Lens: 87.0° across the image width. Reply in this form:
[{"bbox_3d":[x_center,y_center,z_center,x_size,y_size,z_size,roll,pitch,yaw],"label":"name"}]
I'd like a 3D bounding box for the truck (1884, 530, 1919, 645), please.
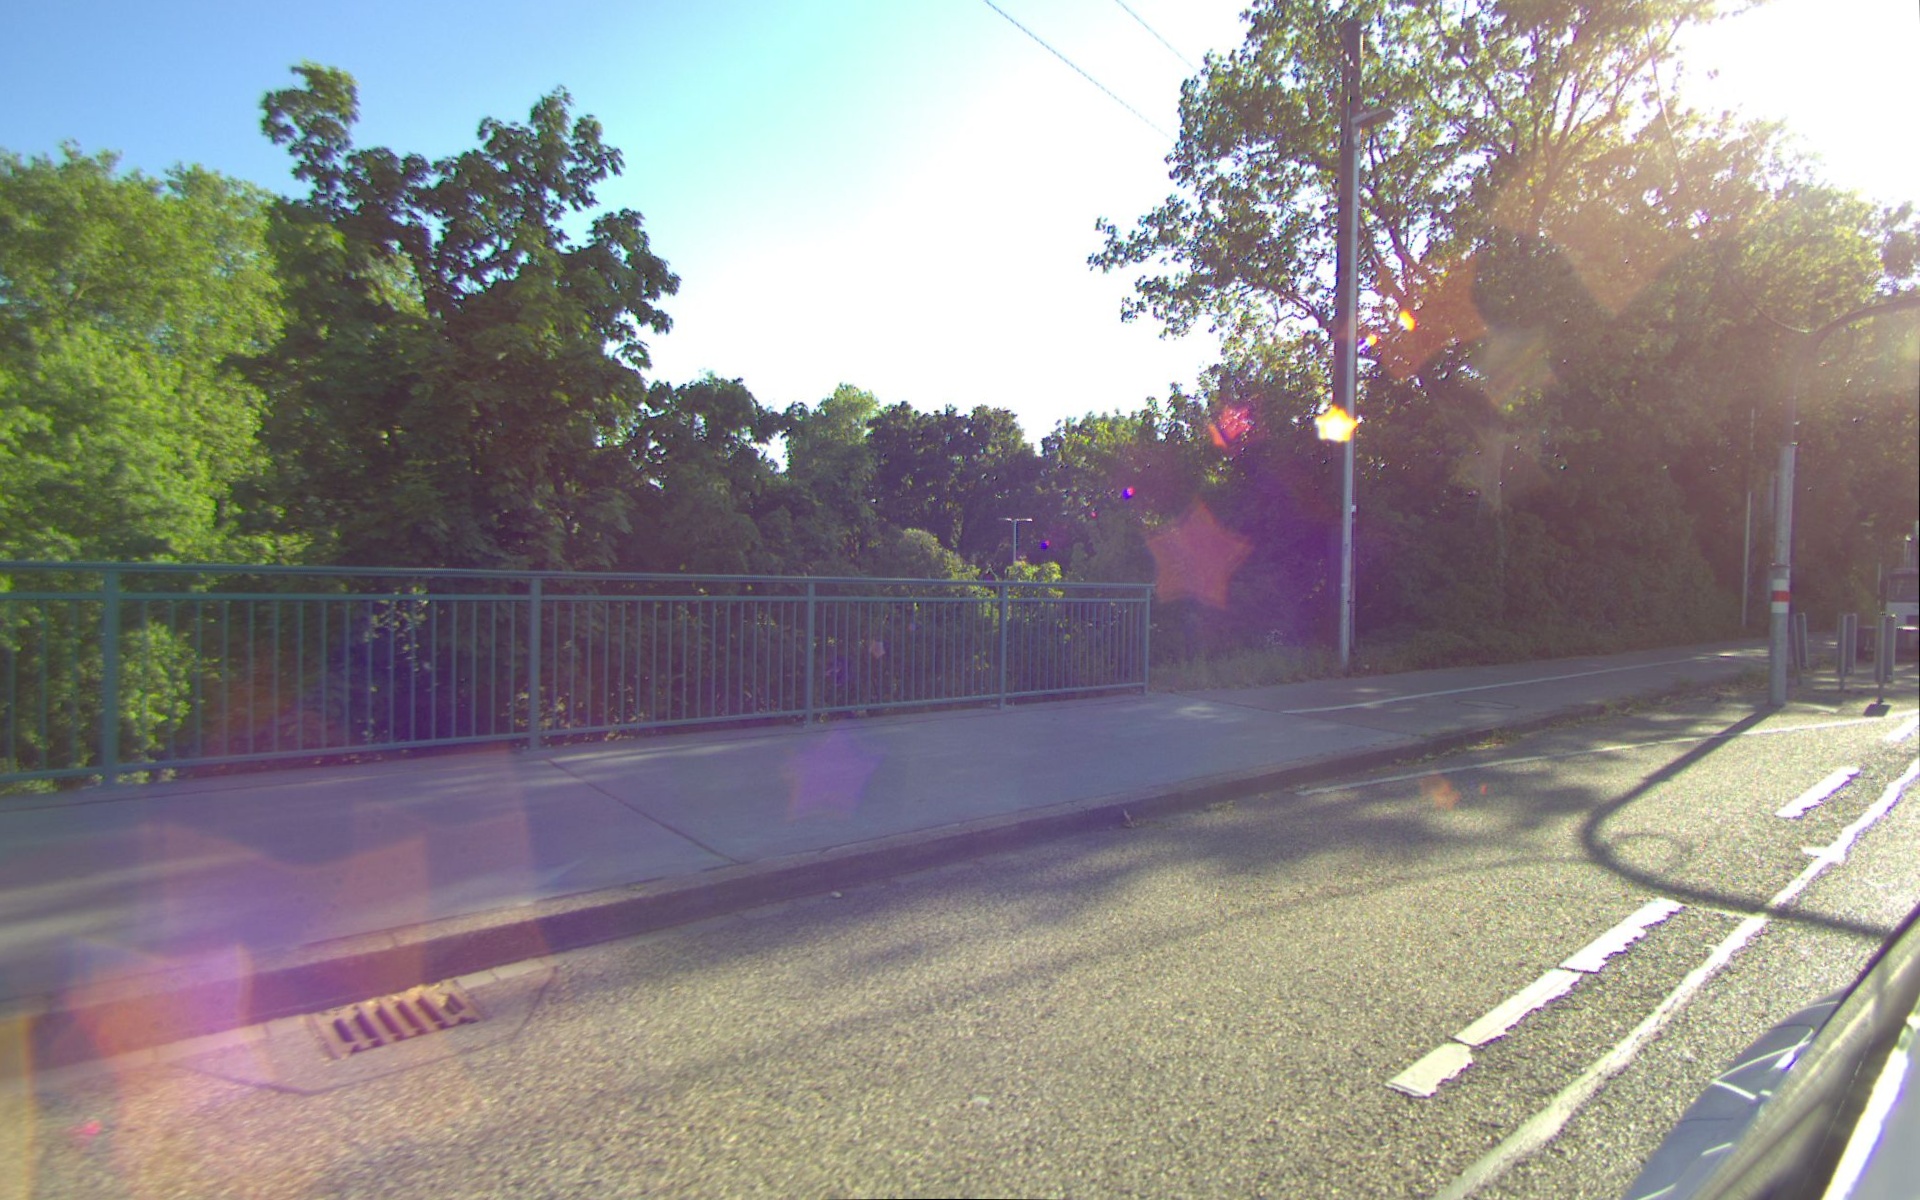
[{"bbox_3d":[30.215,-0.341,30.484,7.732,3.244,2.608,0,1,-41],"label":"truck"}]
